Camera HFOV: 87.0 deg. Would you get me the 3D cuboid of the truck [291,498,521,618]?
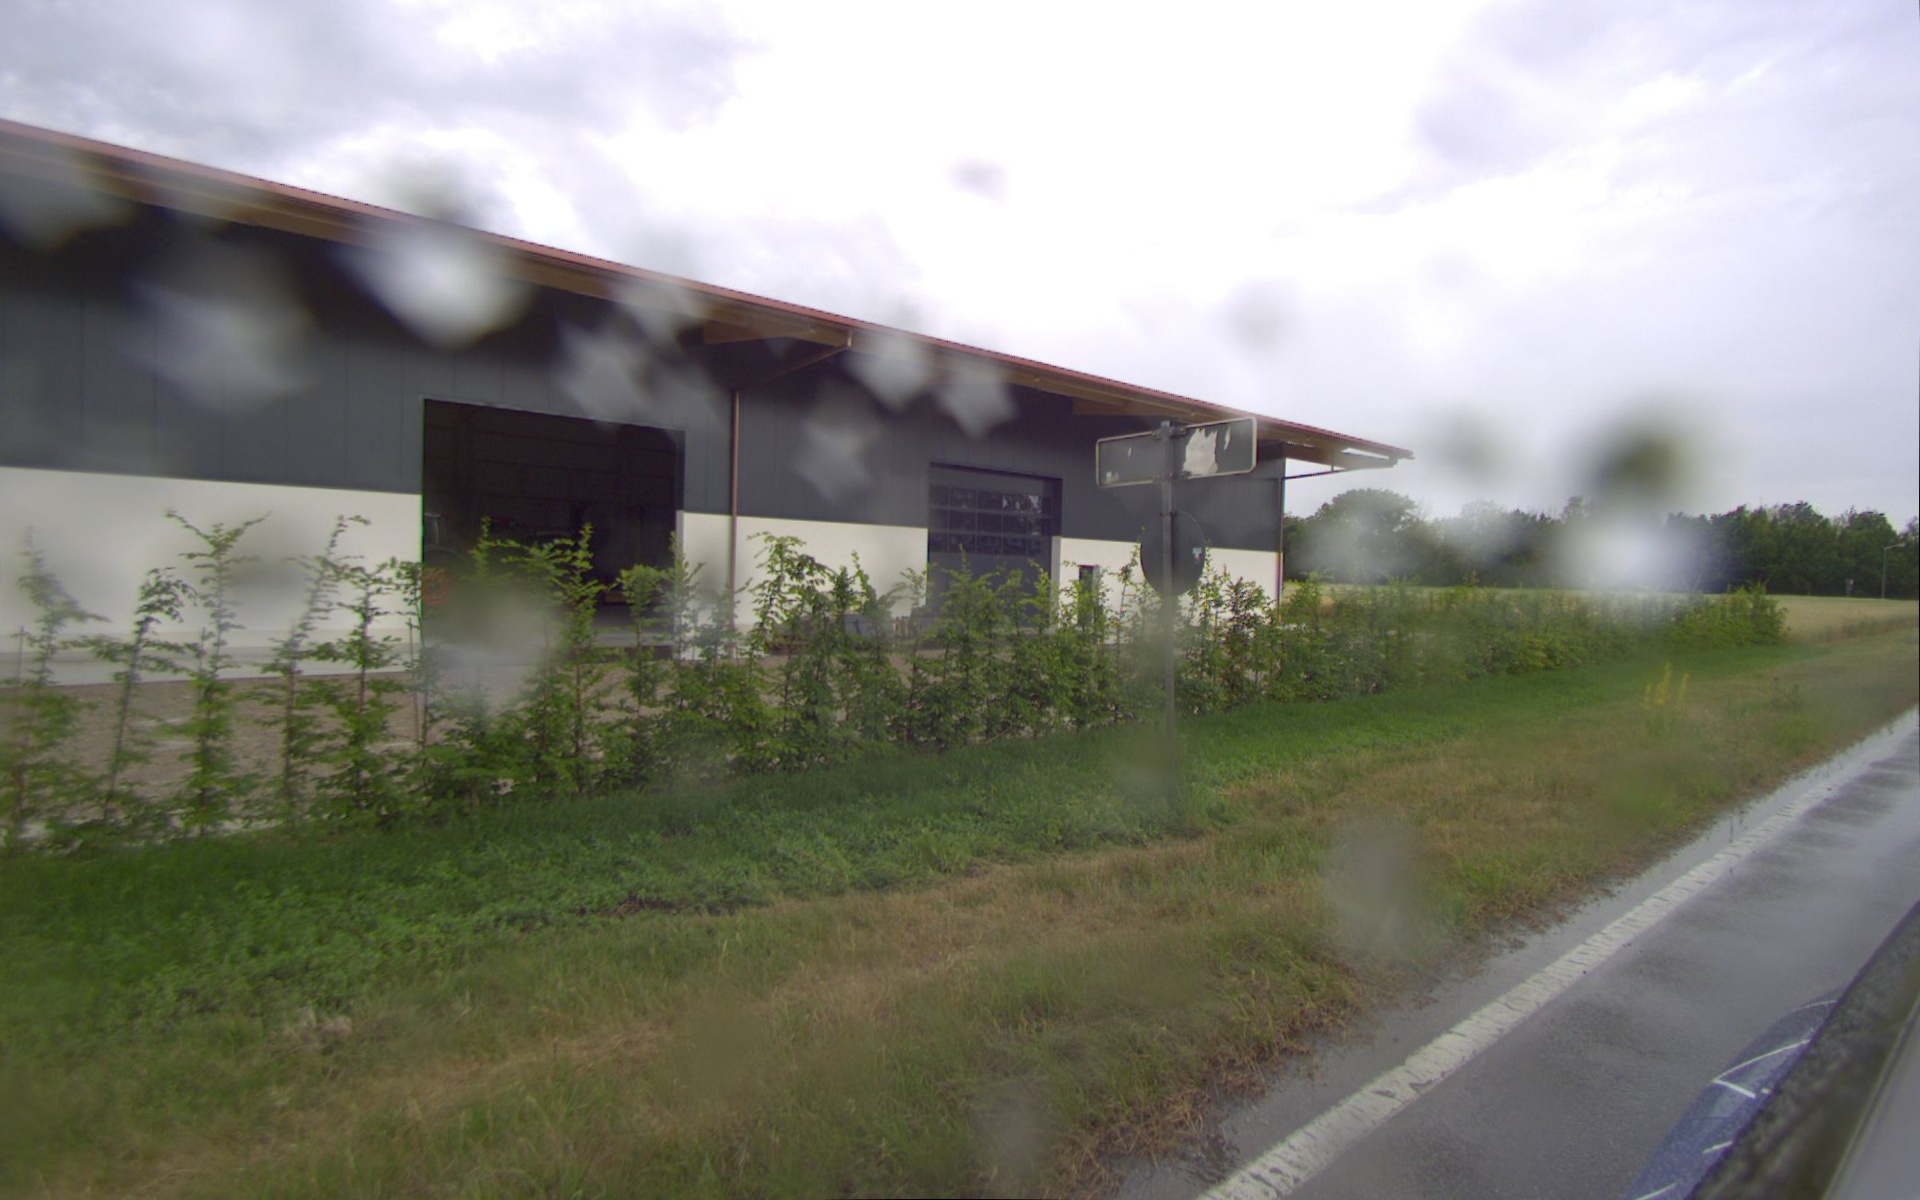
[{"bbox_3d":[-15.463,-1.129,28.387,5.251,3.050,2.495,0,2,-41],"label":"truck"}]
